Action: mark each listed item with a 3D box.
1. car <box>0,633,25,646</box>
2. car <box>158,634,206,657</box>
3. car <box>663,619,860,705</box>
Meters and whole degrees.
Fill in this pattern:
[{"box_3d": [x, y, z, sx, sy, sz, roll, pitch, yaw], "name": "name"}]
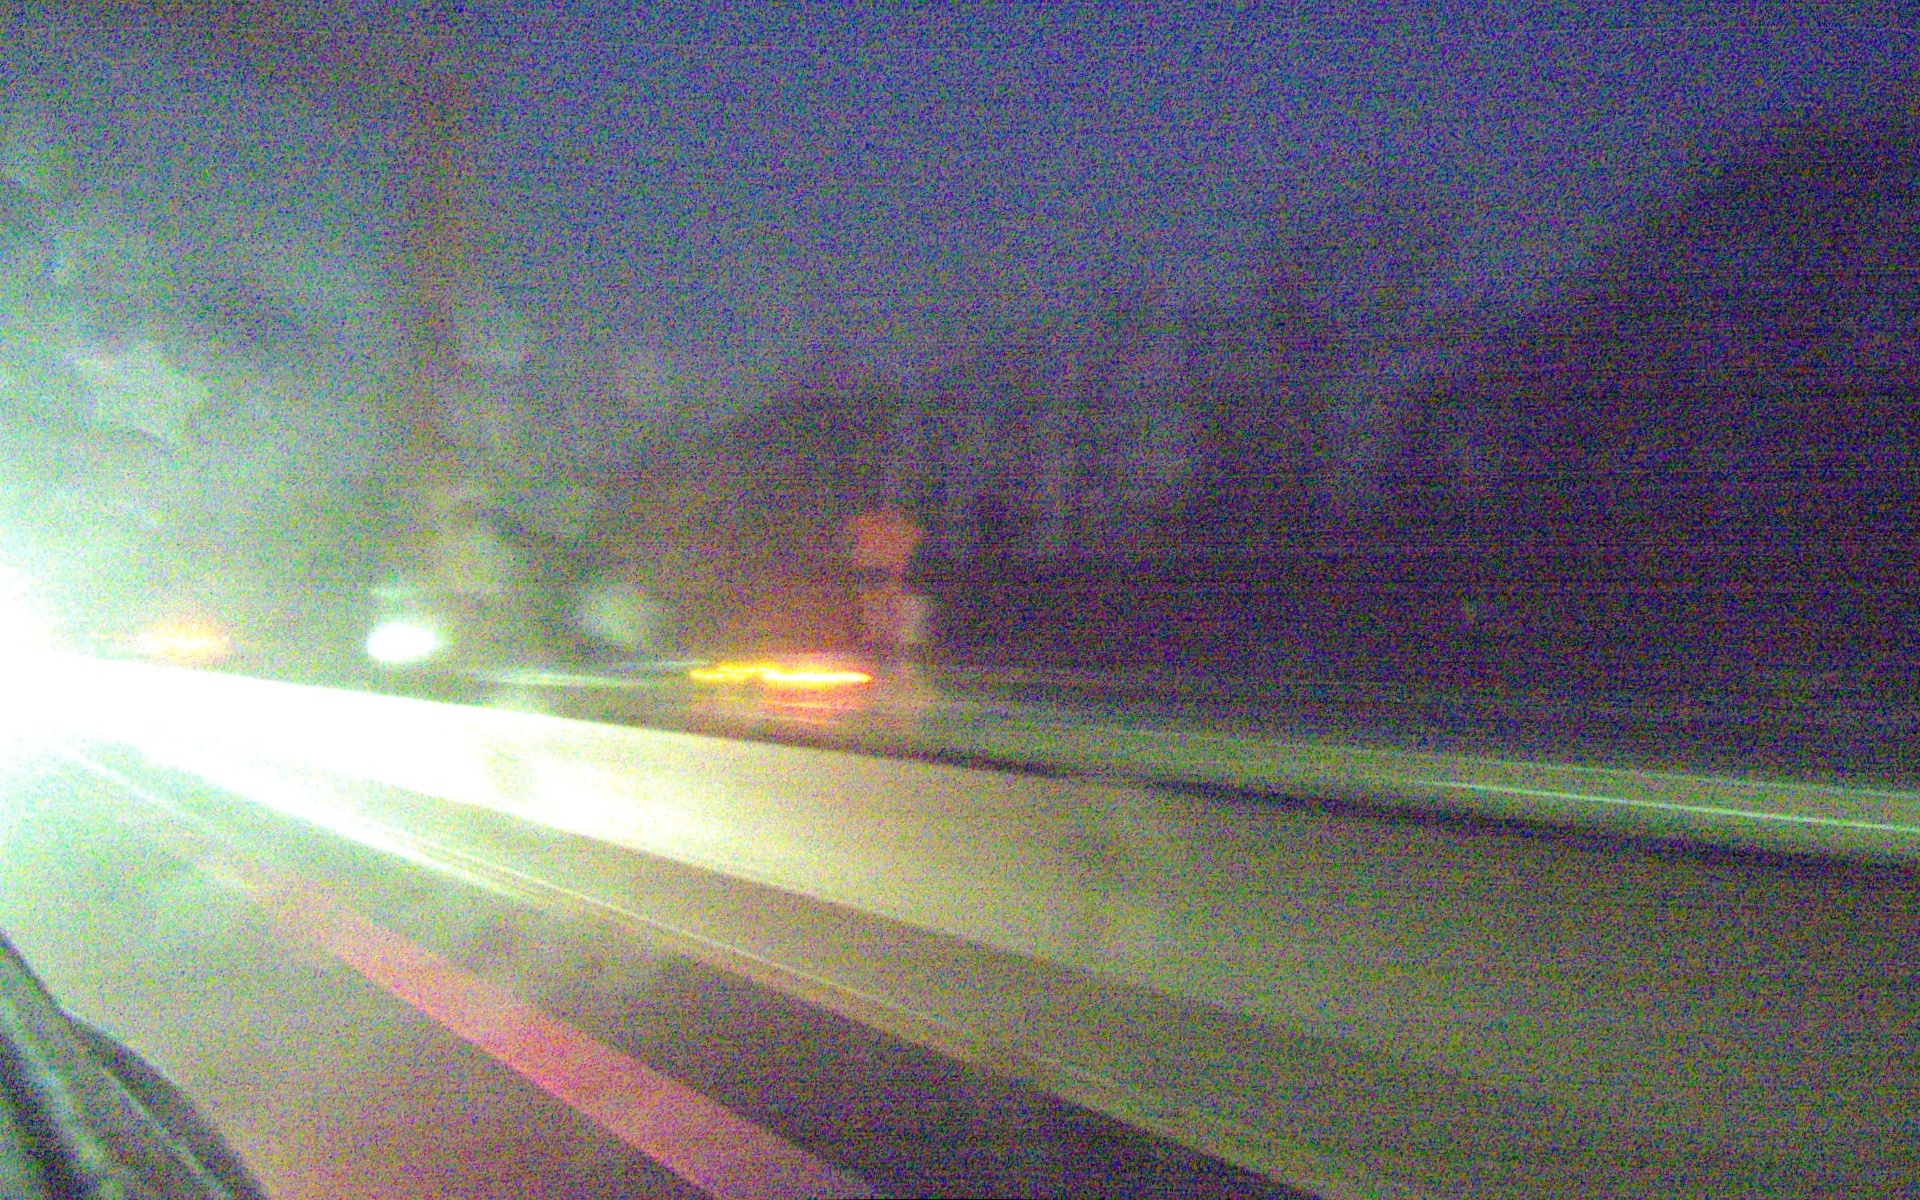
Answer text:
[{"box_3d": [-106.680, 4.469, 113.866, 4.507, 1.491, 1.763, -2, -4, 42], "name": "car"}, {"box_3d": [-53.644, 3.140, 69.746, 4.507, 1.491, 1.763, -2, -4, 42], "name": "car"}, {"box_3d": [-6.500, 1.921, 32.396, 7.144, 2.462, 2.356, -2, -4, 42], "name": "car"}]
